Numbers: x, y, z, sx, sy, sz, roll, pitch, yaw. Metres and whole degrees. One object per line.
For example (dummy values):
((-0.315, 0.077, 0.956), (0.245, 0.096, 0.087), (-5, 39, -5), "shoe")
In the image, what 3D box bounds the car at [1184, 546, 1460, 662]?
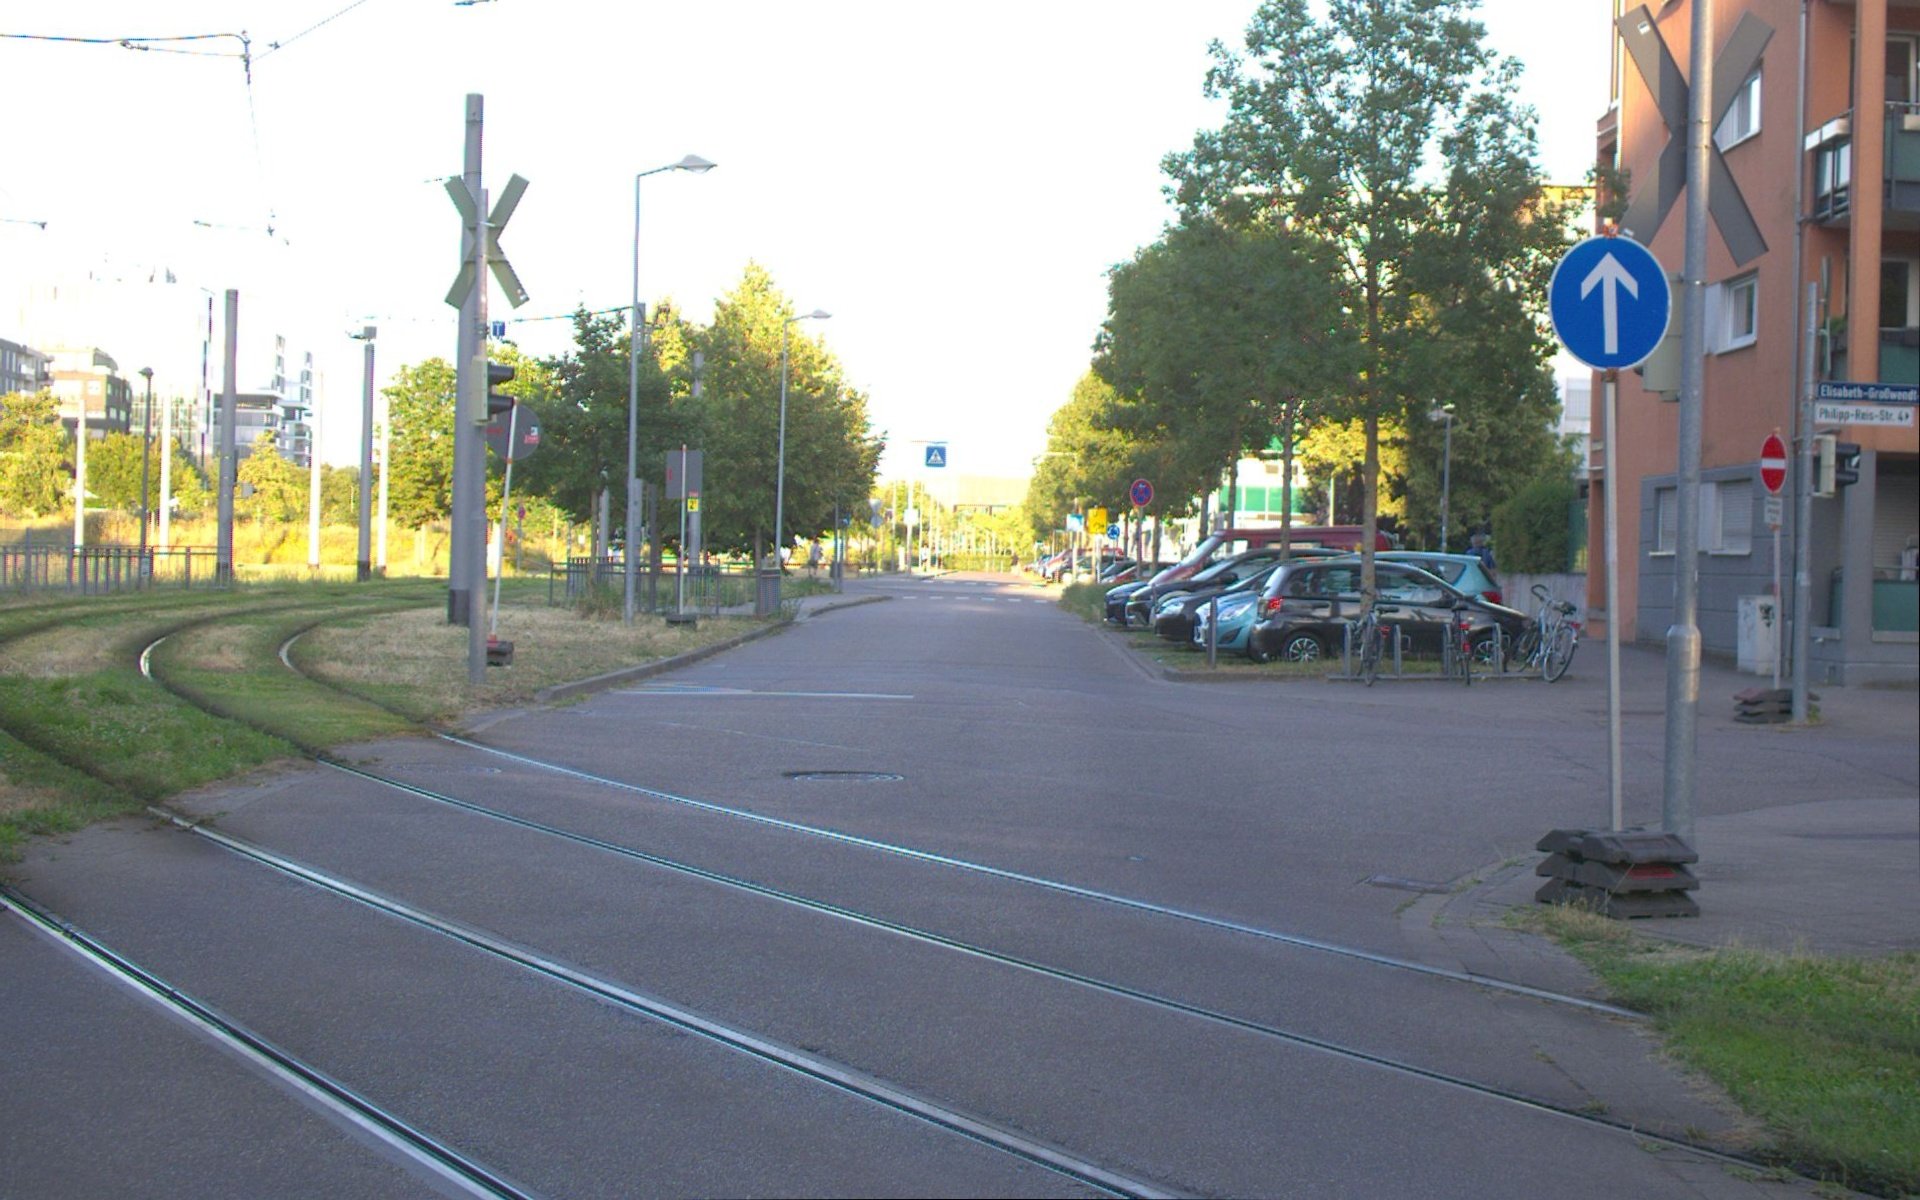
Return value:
((5.316, 0.053, 50.855), (3.877, 1.563, 1.620), (2, 1, 1), "car")

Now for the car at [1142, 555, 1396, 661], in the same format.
((4.782, 0.136, 53.477), (3.773, 1.490, 1.539), (2, -2, 1), "car")

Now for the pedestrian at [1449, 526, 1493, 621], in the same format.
((9.515, -0.492, 64.019), (0.668, 1.737, 0.699), (2, 0, 0), "pedestrian")

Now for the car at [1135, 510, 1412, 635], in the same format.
((5.727, -0.506, 63.311), (4.920, 2.110, 2.017), (2, 0, 2), "car")

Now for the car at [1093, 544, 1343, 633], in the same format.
((4.957, -0.228, 66.488), (4.669, 1.551, 1.811), (2, 1, 1), "car")

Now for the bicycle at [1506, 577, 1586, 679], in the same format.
((7.085, 0.322, 41.624), (0.529, 1.123, 1.963), (3, 2, -1), "bicycle")

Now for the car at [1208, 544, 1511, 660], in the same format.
((5.552, 0.016, 48.094), (4.050, 1.563, 1.673), (0, 1, 1), "car")

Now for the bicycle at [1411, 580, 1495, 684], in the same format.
((5.861, 0.372, 40.975), (0.679, 1.148, 1.928), (0, 2, -1), "bicycle")

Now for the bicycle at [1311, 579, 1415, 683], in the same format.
((4.808, 0.354, 41.142), (0.716, 1.148, 1.899), (0, 3, -10), "bicycle")

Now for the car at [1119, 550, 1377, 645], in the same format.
((4.829, -0.050, 58.004), (4.215, 1.563, 1.792), (0, 0, 1), "car")

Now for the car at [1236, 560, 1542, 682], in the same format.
((5.673, 0.268, 45.687), (3.749, 1.468, 1.613), (2, 1, -4), "car")
